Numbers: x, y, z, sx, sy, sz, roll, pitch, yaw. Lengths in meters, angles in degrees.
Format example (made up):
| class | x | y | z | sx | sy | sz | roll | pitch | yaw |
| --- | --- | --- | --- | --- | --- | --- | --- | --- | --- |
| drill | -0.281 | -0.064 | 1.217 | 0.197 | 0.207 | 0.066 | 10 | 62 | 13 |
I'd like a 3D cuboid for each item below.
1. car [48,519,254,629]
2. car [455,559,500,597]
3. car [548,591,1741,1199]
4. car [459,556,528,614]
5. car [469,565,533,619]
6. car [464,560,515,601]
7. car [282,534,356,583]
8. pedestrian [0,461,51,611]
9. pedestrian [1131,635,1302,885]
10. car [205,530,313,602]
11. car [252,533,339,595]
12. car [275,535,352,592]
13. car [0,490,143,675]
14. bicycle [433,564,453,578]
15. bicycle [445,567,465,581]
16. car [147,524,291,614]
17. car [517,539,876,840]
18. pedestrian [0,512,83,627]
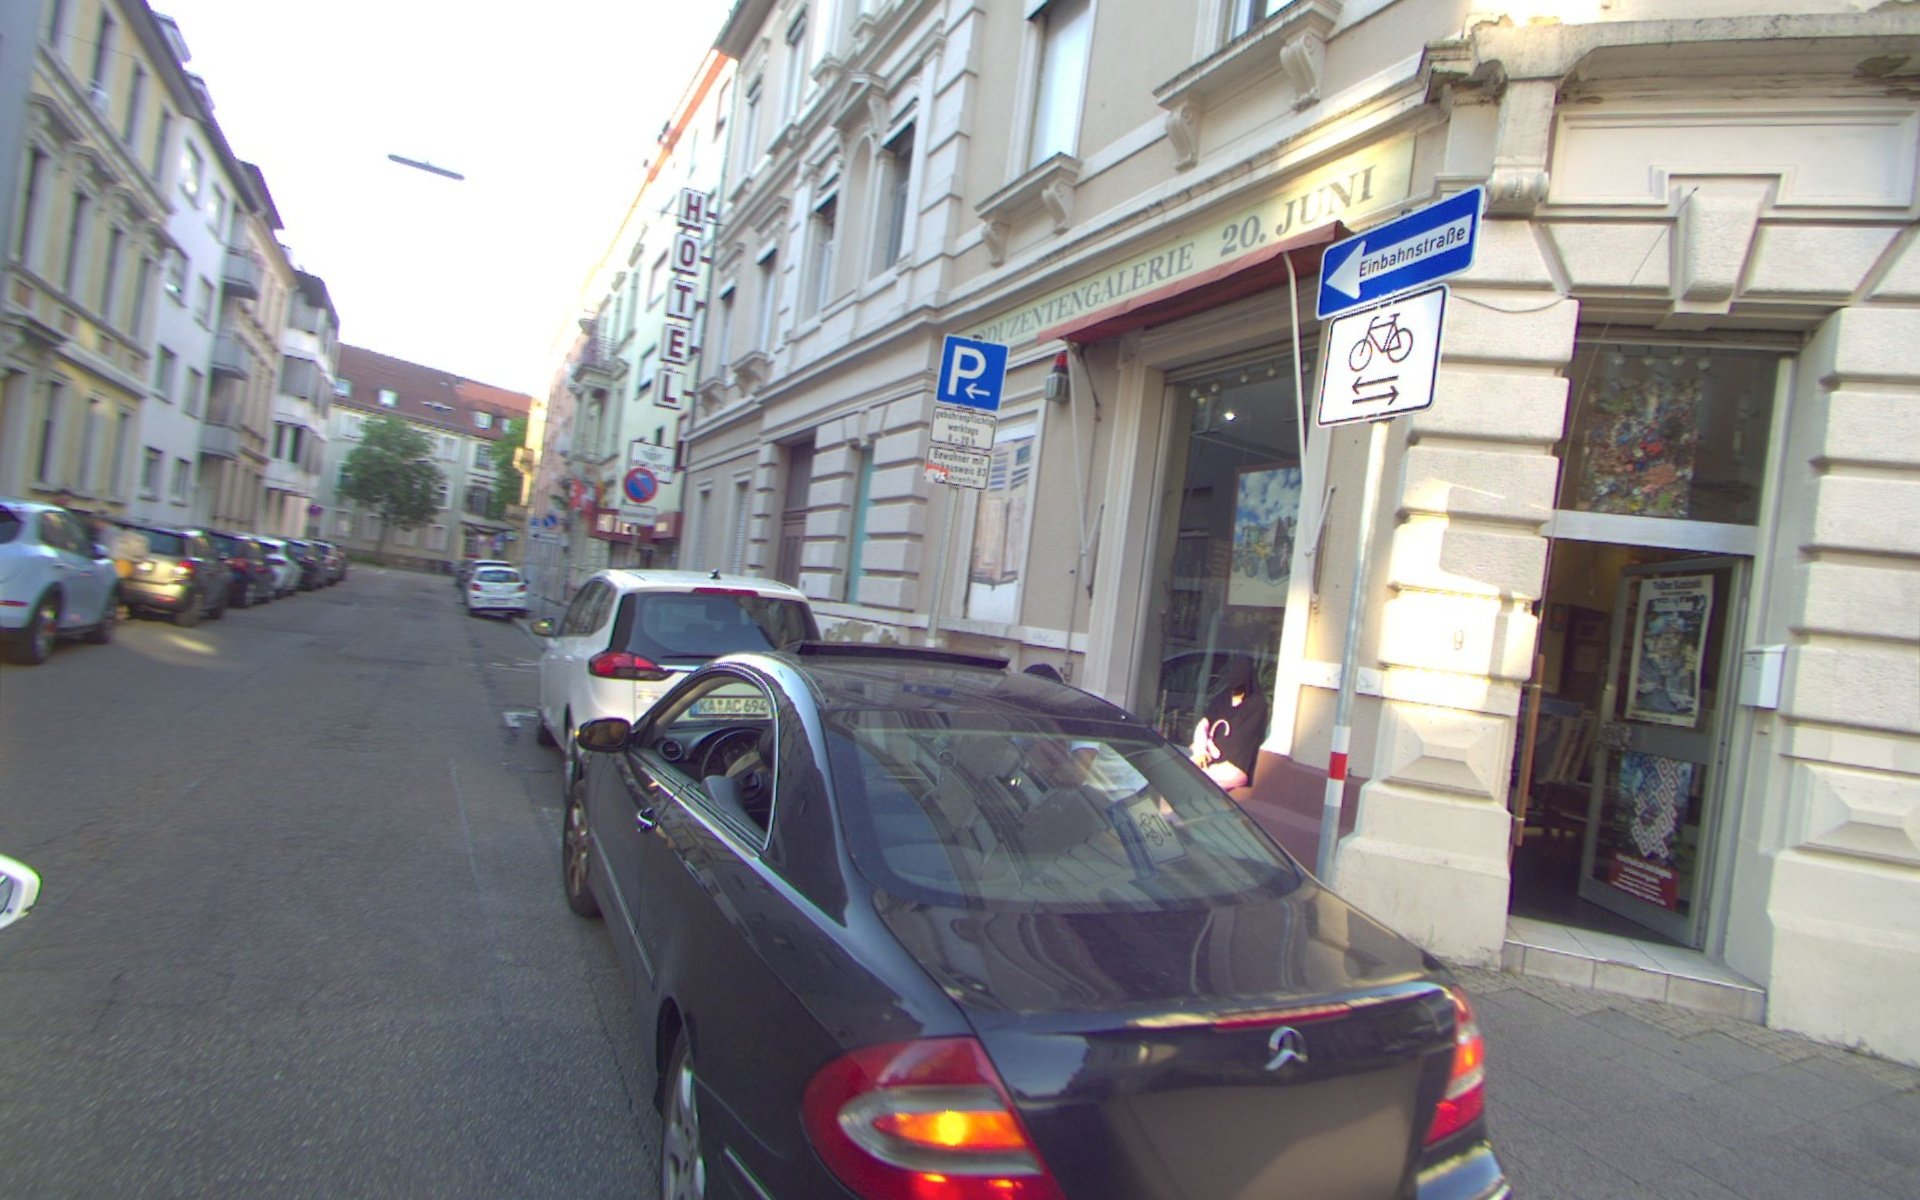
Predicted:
| class | x | y | z | sx | sy | sz | roll | pitch | yaw |
| --- | --- | --- | --- | --- | --- | --- | --- | --- | --- |
| car | -12.867 | -0.400 | 16.293 | 1.670 | 1.347 | 4.105 | 8 | -2 | -27 |
| car | -26.376 | -1.218 | 54.969 | 1.976 | 1.782 | 3.975 | 7 | -1 | -26 |
| car | -0.357 | 0.869 | 3.716 | 1.867 | 1.425 | 4.701 | 8 | -1 | -24 |
| car | -16.930 | -0.580 | 36.477 | 1.976 | 1.753 | 4.034 | 8 | -1 | -26 |
| car | -14.065 | -0.286 | 30.733 | 1.645 | 1.479 | 3.734 | 1 | 2 | -27 |
| car | -23.609 | -1.010 | 50.440 | 1.977 | 1.729 | 3.972 | 7 | -1 | -28 |
| car | -26.546 | -1.723 | 41.770 | 1.976 | 1.682 | 3.952 | 7 | -1 | -26 |
| pedestrian | -13.596 | -0.926 | 14.262 | 0.794 | 2.037 | 0.768 | 7 | -1 | -37 |
| pedestrian | 1.655 | 1.024 | 6.519 | 0.708 | 1.489 | 0.577 | 7 | 0 | -27 |
| car | -17.886 | -0.886 | 25.831 | 1.616 | 1.490 | 3.729 | 8 | -1 | -27 |
| car | -20.531 | -1.127 | 31.221 | 1.601 | 1.589 | 4.274 | 8 | -1 | -27 |
| car | -23.380 | -1.341 | 36.548 | 1.979 | 1.686 | 4.375 | 8 | -1 | -30 |
| car | -10.128 | -0.346 | 10.505 | 1.751 | 1.583 | 4.329 | 8 | 0 | -31 |
| bicycle | -42.237 | -2.403 | 82.190 | 1.696 | 0.960 | 0.519 | 7 | -1 | 30 |
| bicycle | -40.792 | -2.104 | 81.319 | 1.696 | 0.904 | 0.519 | 5 | -2 | 30 |
| car | -15.610 | -0.681 | 21.392 | 1.713 | 1.527 | 3.805 | 8 | -1 | -27 |
| car | -2.452 | 0.528 | 8.297 | 1.801 | 1.744 | 4.431 | 8 | -1 | -27 |
| pedestrian | -12.391 | -0.400 | 13.515 | 0.662 | 1.427 | 0.660 | 7 | -1 | 35 |
